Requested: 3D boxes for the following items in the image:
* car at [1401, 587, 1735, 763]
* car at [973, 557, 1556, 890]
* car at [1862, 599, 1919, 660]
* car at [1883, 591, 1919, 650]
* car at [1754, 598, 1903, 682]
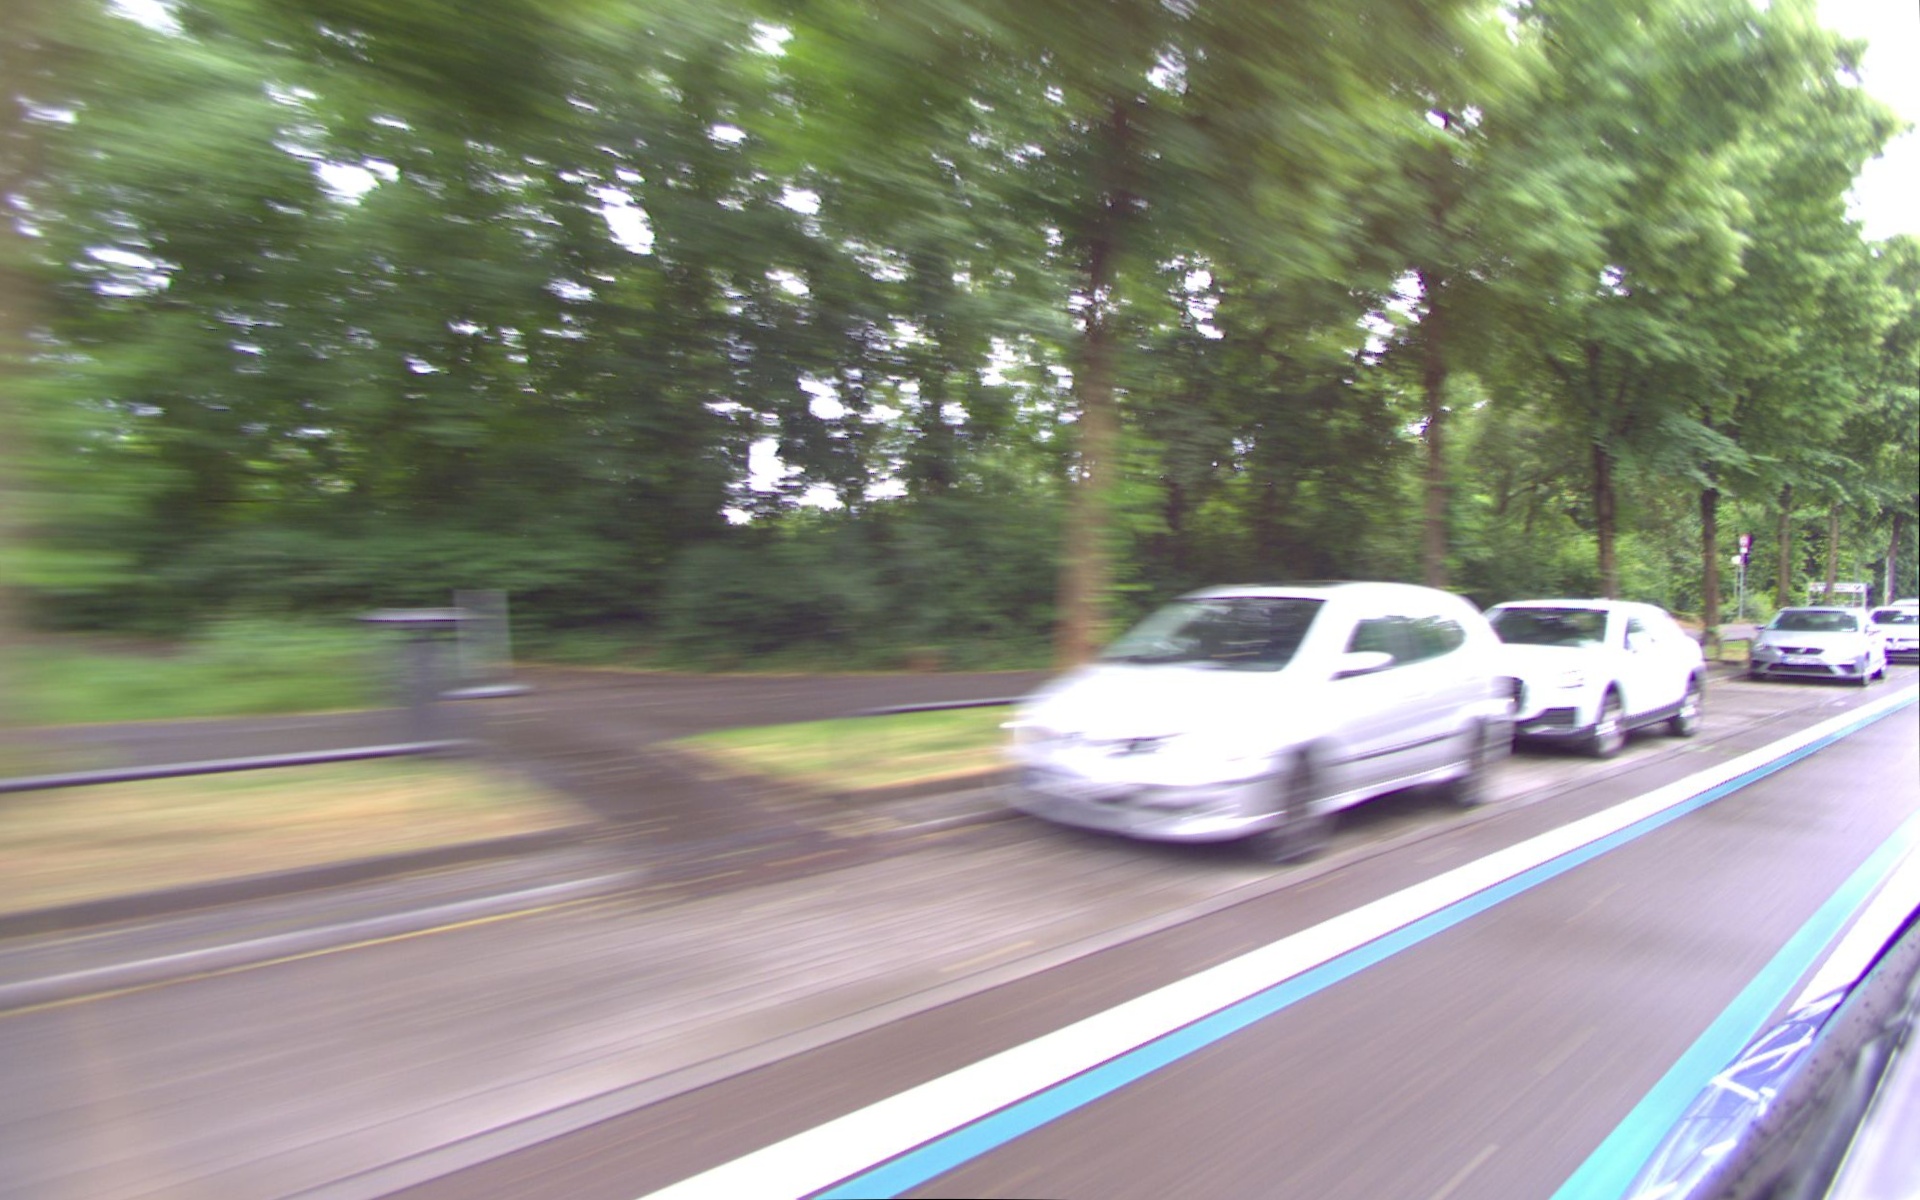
[{"bbox_3d":[6.660,0.649,10.887,4.389,1.532,1.701,0,0,-39],"label":"car"},{"bbox_3d":[2.400,0.594,7.134,4.657,1.617,1.756,0,0,-41],"label":"car"},{"bbox_3d":[24.500,0.709,25.863,3.877,1.472,1.700,0,0,-41],"label":"car"},{"bbox_3d":[29.251,0.596,30.247,4.483,1.683,1.997,0,1,-41],"label":"car"},{"bbox_3d":[16.870,0.692,19.598,4.027,1.472,1.700,0,0,-42],"label":"car"}]
